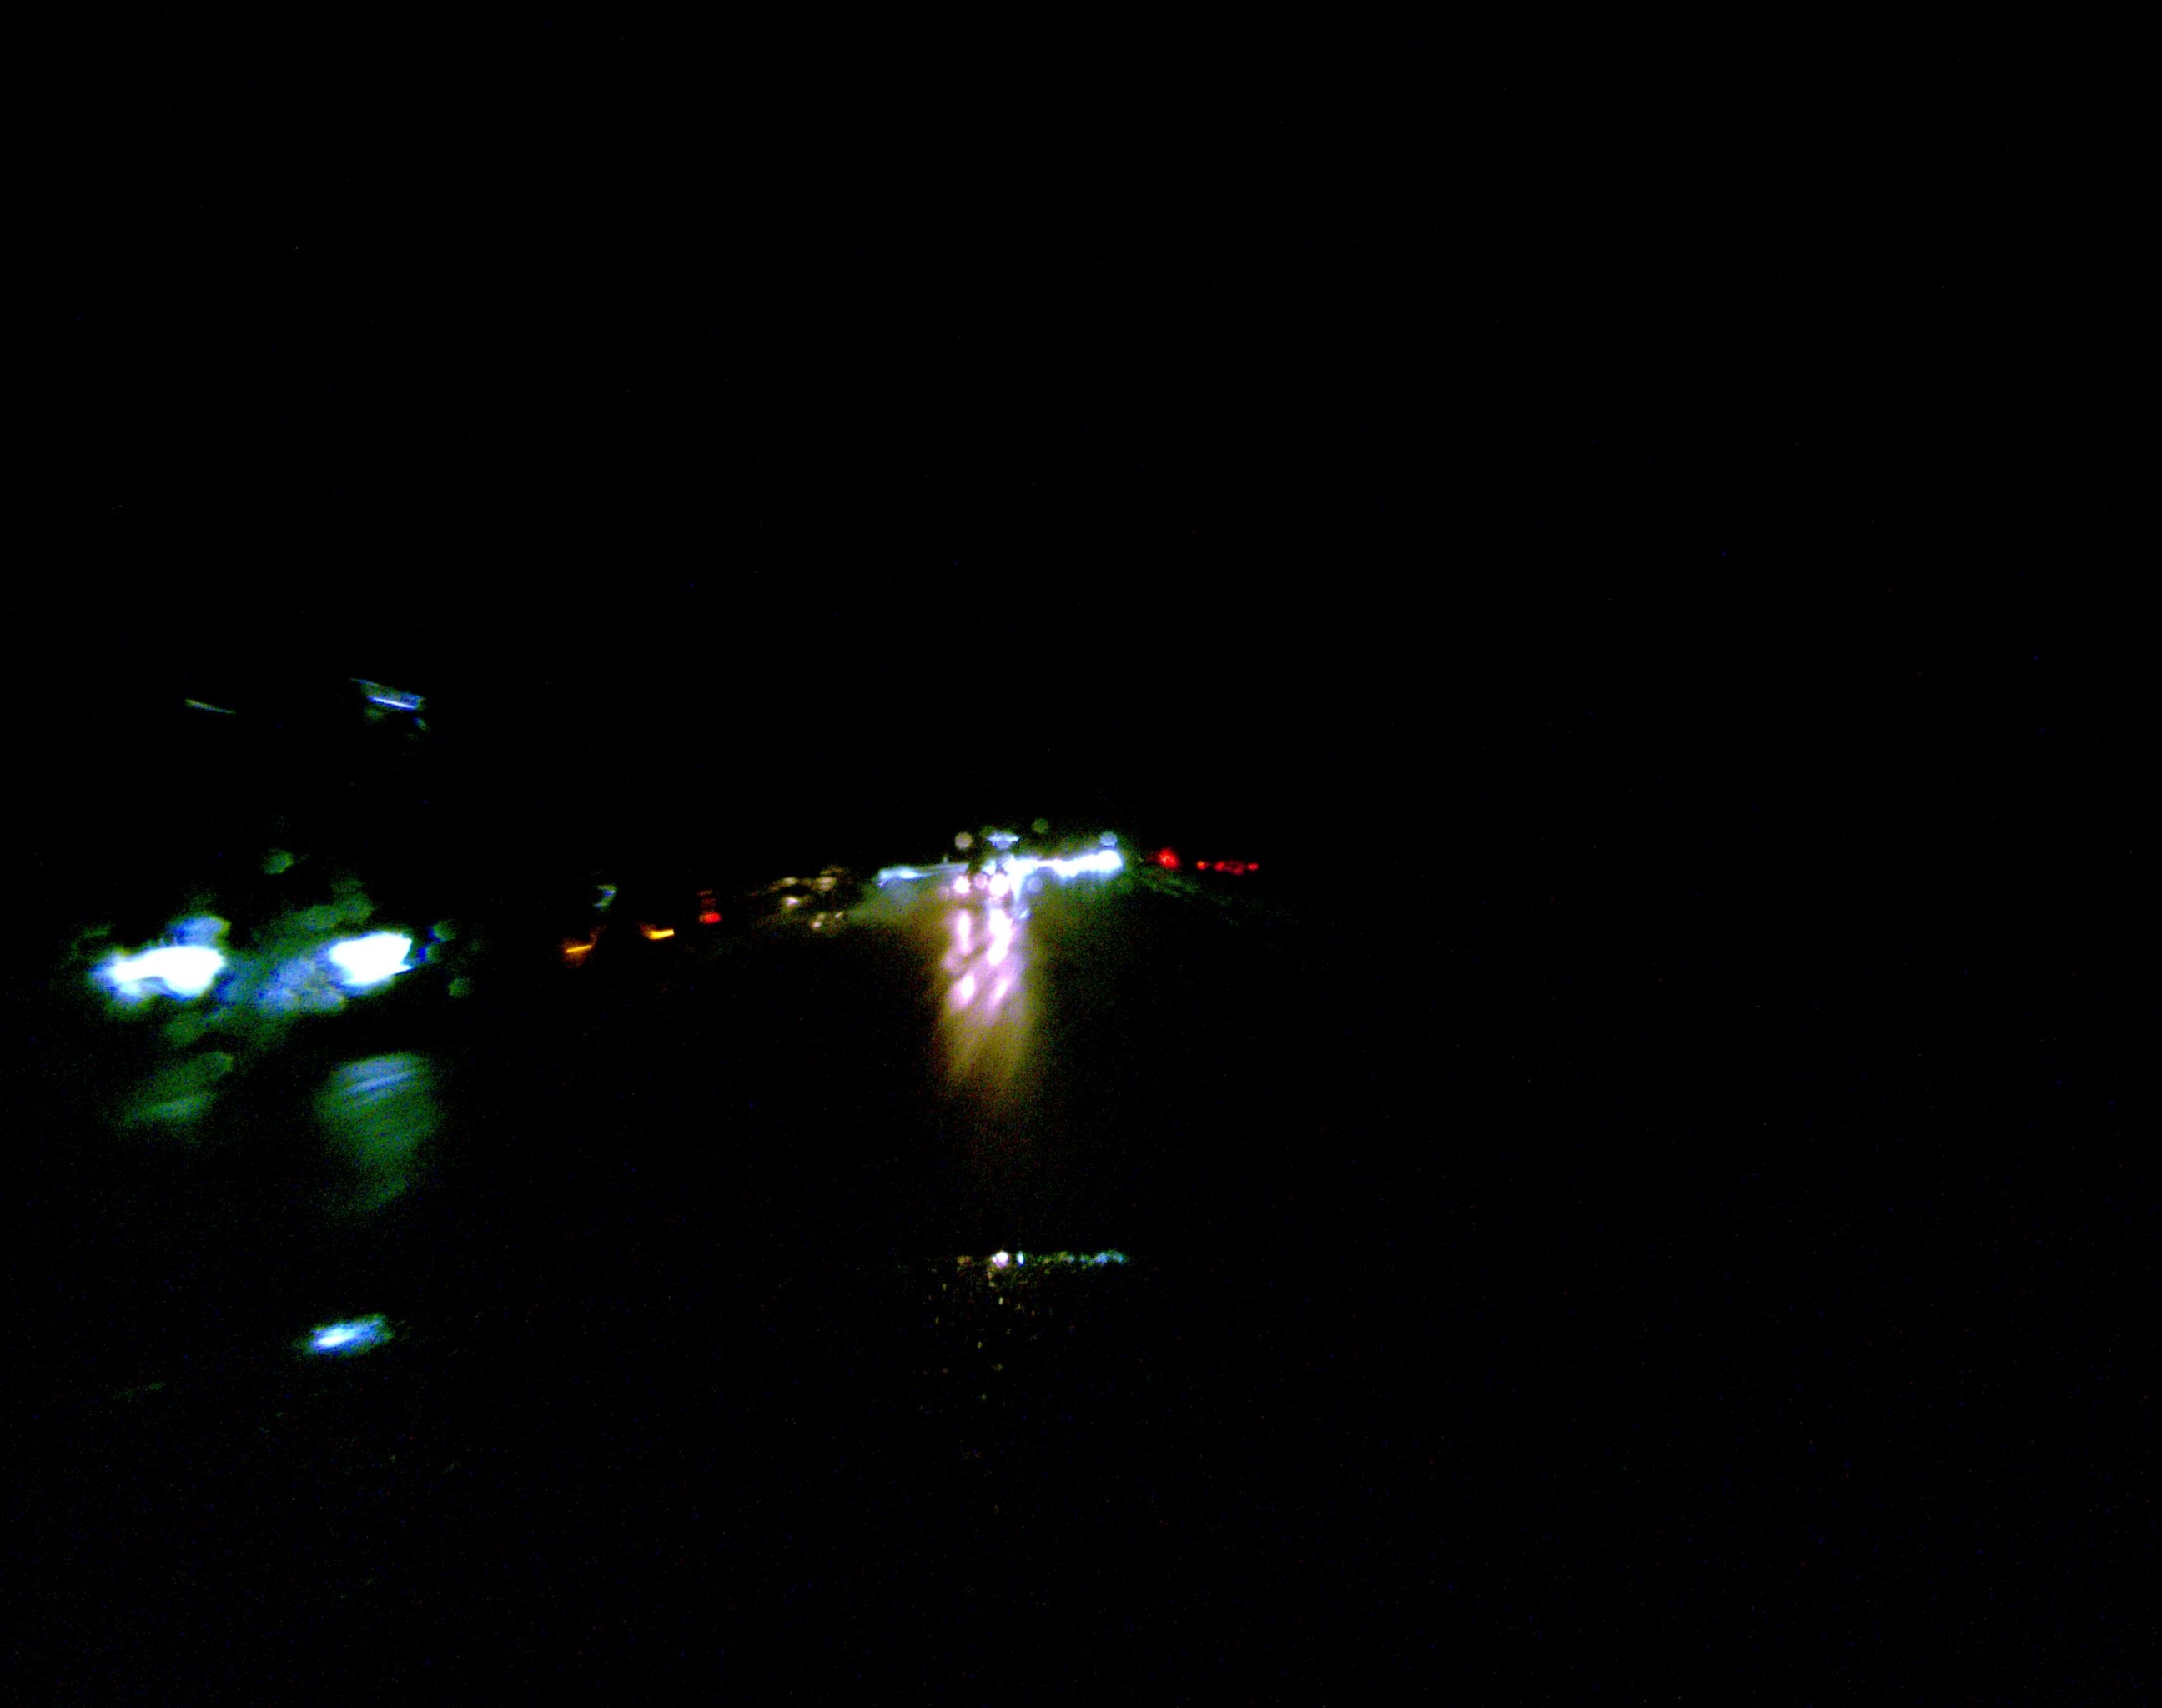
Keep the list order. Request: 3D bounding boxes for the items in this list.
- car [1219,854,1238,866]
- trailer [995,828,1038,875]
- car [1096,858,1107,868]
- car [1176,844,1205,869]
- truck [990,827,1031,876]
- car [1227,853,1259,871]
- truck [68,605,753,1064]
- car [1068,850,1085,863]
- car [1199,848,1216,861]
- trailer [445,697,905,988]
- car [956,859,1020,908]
[{"bbox_3d":[18.907,0.736,97.739,1.694,1.499,4.272,1,0,1],"label":"car"},{"bbox_3d":[-6.145,-0.280,74.576,2.753,4.168,11.180,-2,0,2],"label":"trailer"},{"bbox_3d":[3.300,1.405,122.414,1.619,1.452,3.767,-2,0,2],"label":"car"},{"bbox_3d":[9.293,0.175,64.787,1.789,2.002,4.380,-2,0,0],"label":"car"},{"bbox_3d":[-6.322,-0.254,69.053,2.778,4.168,6.017,-2,0,2],"label":"truck"},{"bbox_3d":[14.231,0.683,66.968,1.789,1.517,4.380,-2,0,0],"label":"car"},{"bbox_3d":[-7.655,-0.174,10.456,2.866,4.079,7.014,-2,0,2],"label":"truck"},{"bbox_3d":[-0.577,0.278,95.029,1.945,1.521,4.000,-2,0,2],"label":"car"},{"bbox_3d":[24.873,0.159,149.867,2.387,2.428,7.148,1,0,2],"label":"car"},{"bbox_3d":[-7.416,-0.205,17.737,2.872,4.073,13.641,-2,0,2],"label":"trailer"},{"bbox_3d":[-3.182,0.982,26.687,1.619,1.494,3.767,-2,0,2],"label":"car"}]
